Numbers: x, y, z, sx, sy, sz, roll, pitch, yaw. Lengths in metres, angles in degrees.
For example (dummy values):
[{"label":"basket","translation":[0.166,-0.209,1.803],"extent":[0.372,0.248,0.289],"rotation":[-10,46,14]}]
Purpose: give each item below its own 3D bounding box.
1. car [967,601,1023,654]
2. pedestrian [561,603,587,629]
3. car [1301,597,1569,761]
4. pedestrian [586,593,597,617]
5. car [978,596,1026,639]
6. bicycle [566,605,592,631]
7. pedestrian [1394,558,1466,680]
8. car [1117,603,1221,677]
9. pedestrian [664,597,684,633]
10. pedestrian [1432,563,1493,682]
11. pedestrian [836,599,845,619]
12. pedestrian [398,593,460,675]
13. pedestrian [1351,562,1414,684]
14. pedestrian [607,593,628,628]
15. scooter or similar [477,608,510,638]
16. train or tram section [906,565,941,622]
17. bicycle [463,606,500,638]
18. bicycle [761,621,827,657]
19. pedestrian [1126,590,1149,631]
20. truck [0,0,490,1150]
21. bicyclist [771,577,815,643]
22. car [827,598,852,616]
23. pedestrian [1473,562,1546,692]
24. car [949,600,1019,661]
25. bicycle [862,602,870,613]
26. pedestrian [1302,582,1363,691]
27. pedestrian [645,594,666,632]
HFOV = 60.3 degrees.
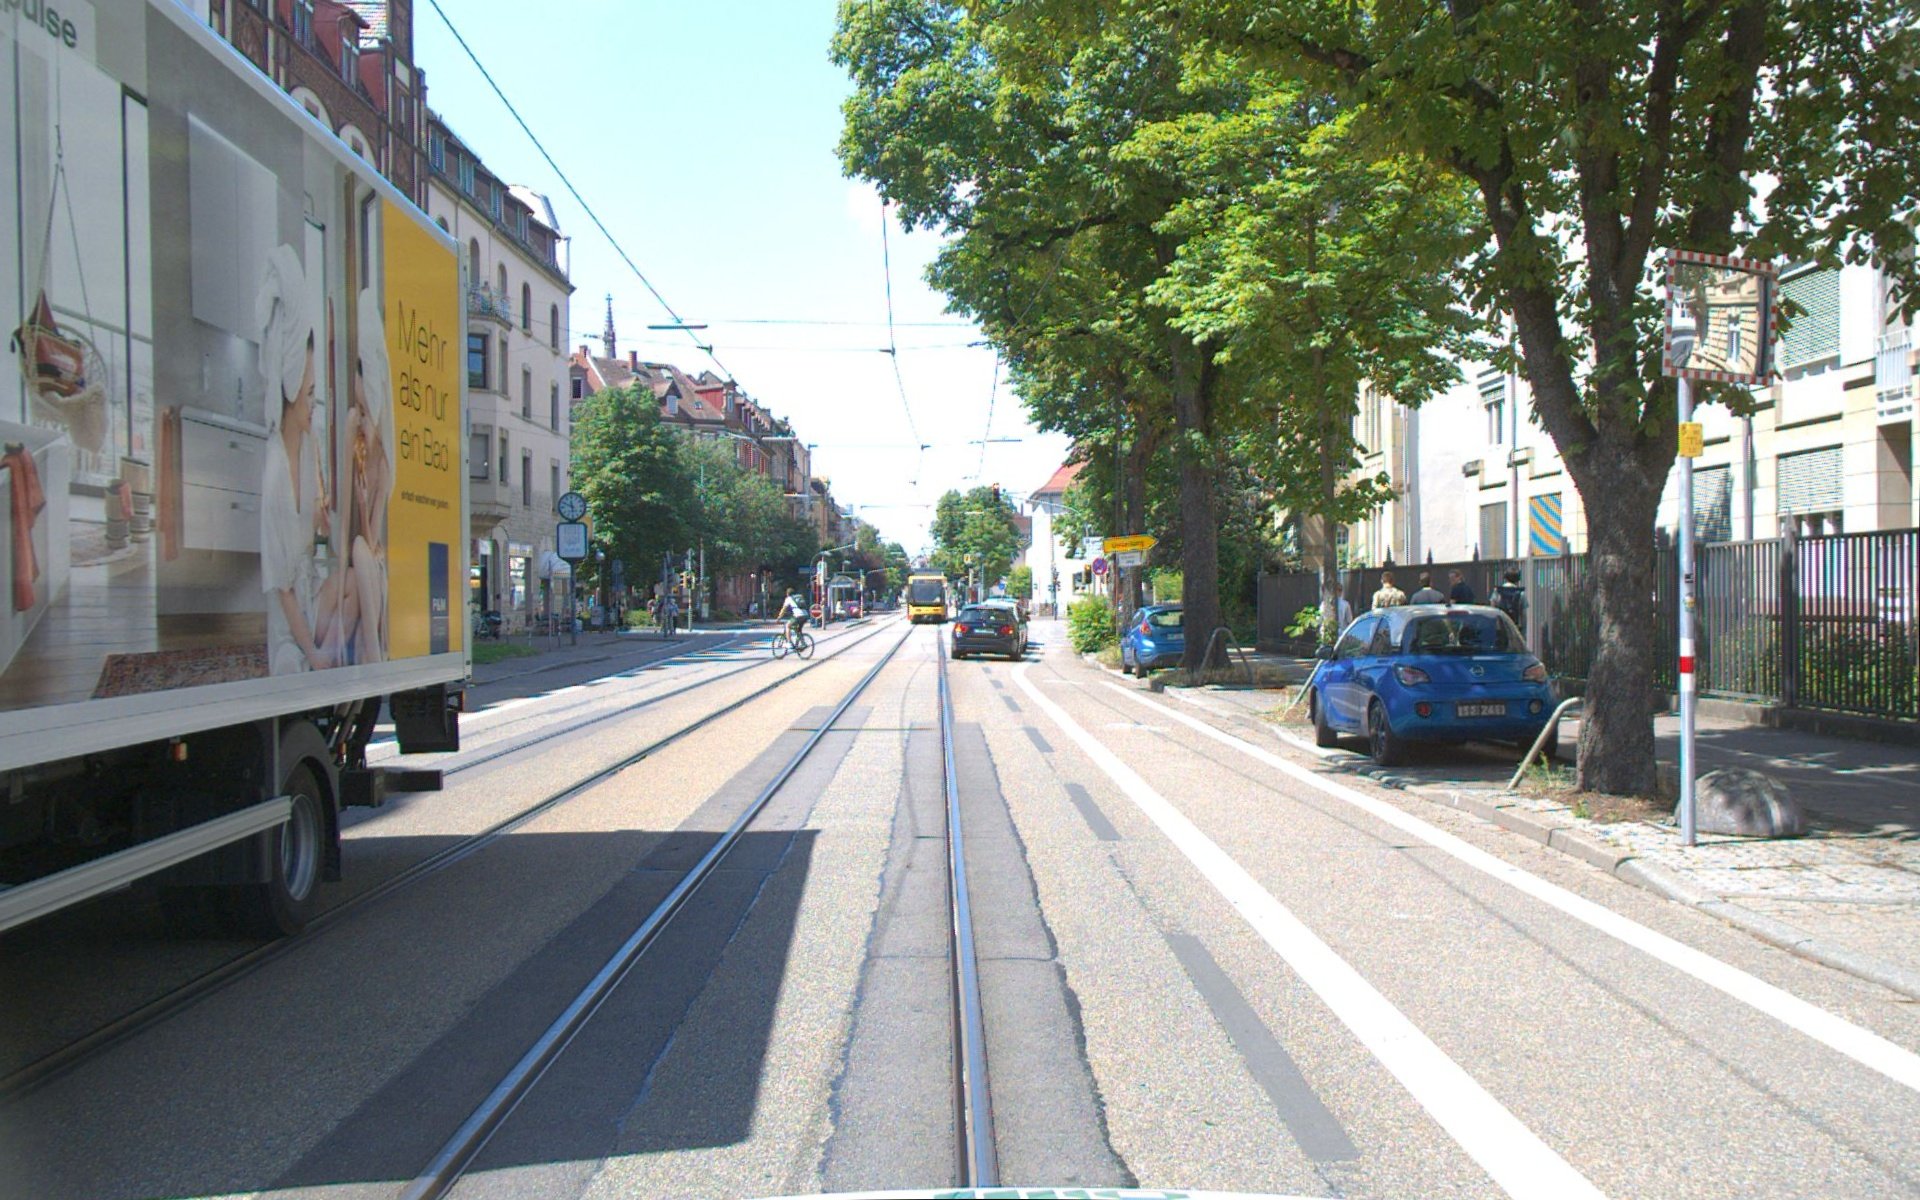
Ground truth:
[{"label":"car","translation":[1.080,0.816,50.547],"extent":[1.650,1.510,3.685],"rotation":[0,0,1]},{"label":"pedestrian","translation":[-16.830,0.693,72.127],"extent":[0.897,1.096,0.883],"rotation":[0,0,0]},{"label":"car","translation":[4.713,0.719,16.889],"extent":[1.657,1.478,3.473],"rotation":[0,0,-2]},{"label":"pedestrian","translation":[-28.353,0.412,127.269],"extent":[0.729,1.843,0.635],"rotation":[0,0,-27]},{"label":"car","translation":[1.620,0.648,62.479],"extent":[1.656,1.540,3.823],"rotation":[1,0,3]},{"label":"bicycle","translation":[-17.458,0.839,75.712],"extent":[0.539,1.148,1.660],"rotation":[0,-2,-37]},{"label":"pedestrian","translation":[7.085,0.281,24.966],"extent":[0.771,1.792,1.052],"rotation":[0,0,-1]},{"label":"car","translation":[4.398,0.808,35.206],"extent":[1.643,1.469,3.720],"rotation":[0,0,-2]},{"label":"pedestrian","translation":[-13.981,0.740,80.844],"extent":[0.899,1.753,0.838],"rotation":[0,0,-9]},{"label":"pedestrian","translation":[7.947,0.349,26.193],"extent":[0.647,1.843,0.977],"rotation":[0,0,-1]},{"label":"pedestrian","translation":[-7.770,0.577,107.607],"extent":[0.602,1.264,0.627],"rotation":[0,0,-7]},{"label":"pedestrian","translation":[-10.325,0.651,32.176],"extent":[0.882,1.569,0.984],"rotation":[0,0,-1]},{"label":"pedestrian","translation":[6.380,0.334,25.027],"extent":[0.690,1.807,0.947],"rotation":[0,0,-1]},{"label":"pedestrian","translation":[-16.678,0.506,80.557],"extent":[0.843,1.664,1.026],"rotation":[0,0,-2]},{"label":"scooter or similar","translation":[-16.725,0.823,59.292],"extent":[0.690,1.062,1.192],"rotation":[2,-1,-41]},{"label":"train or tram section","translation":[-2.347,-0.448,108.197],"extent":[2.146,3.543,8.843],"rotation":[0,0,-1]},{"label":"bicycle","translation":[-16.542,0.773,57.233],"extent":[0.362,1.084,1.464],"rotation":[0,-1,22]},{"label":"bicycle","translation":[-4.298,1.004,42.679],"extent":[0.749,0.832,1.791],"rotation":[0,2,-44]},{"label":"pedestrian","translation":[7.188,0.424,66.957],"extent":[0.839,1.674,0.836],"rotation":[-1,0,0]},{"label":"truck","translation":[-4.032,-0.367,5.978],"extent":[2.730,3.683,8.250],"rotation":[0,0,-3]},{"label":"bicyclist","translation":[-4.309,0.252,42.679],"extent":[0.752,1.692,0.818],"rotation":[2,-1,-43]},{"label":"car","translation":[-10.109,0.596,138.986],"extent":[1.786,1.438,4.428],"rotation":[-1,0,-1]},{"label":"pedestrian","translation":[7.970,0.379,24.008],"extent":[0.670,1.829,1.084],"rotation":[0,0,-1]},{"label":"car","translation":[0.642,0.767,43.547],"extent":[1.687,1.433,4.565],"rotation":[2,0,1]},{"label":"bicycle","translation":[-10.080,0.800,177.141],"extent":[0.714,1.121,1.715],"rotation":[-1,0,0]},{"label":"pedestrian","translation":[5.859,0.564,26.077],"extent":[0.750,1.680,0.974],"rotation":[0,0,1]},{"label":"pedestrian","translation":[-15.522,0.639,84.290],"extent":[0.882,1.924,1.164],"rotation":[0,0,-1]}]
